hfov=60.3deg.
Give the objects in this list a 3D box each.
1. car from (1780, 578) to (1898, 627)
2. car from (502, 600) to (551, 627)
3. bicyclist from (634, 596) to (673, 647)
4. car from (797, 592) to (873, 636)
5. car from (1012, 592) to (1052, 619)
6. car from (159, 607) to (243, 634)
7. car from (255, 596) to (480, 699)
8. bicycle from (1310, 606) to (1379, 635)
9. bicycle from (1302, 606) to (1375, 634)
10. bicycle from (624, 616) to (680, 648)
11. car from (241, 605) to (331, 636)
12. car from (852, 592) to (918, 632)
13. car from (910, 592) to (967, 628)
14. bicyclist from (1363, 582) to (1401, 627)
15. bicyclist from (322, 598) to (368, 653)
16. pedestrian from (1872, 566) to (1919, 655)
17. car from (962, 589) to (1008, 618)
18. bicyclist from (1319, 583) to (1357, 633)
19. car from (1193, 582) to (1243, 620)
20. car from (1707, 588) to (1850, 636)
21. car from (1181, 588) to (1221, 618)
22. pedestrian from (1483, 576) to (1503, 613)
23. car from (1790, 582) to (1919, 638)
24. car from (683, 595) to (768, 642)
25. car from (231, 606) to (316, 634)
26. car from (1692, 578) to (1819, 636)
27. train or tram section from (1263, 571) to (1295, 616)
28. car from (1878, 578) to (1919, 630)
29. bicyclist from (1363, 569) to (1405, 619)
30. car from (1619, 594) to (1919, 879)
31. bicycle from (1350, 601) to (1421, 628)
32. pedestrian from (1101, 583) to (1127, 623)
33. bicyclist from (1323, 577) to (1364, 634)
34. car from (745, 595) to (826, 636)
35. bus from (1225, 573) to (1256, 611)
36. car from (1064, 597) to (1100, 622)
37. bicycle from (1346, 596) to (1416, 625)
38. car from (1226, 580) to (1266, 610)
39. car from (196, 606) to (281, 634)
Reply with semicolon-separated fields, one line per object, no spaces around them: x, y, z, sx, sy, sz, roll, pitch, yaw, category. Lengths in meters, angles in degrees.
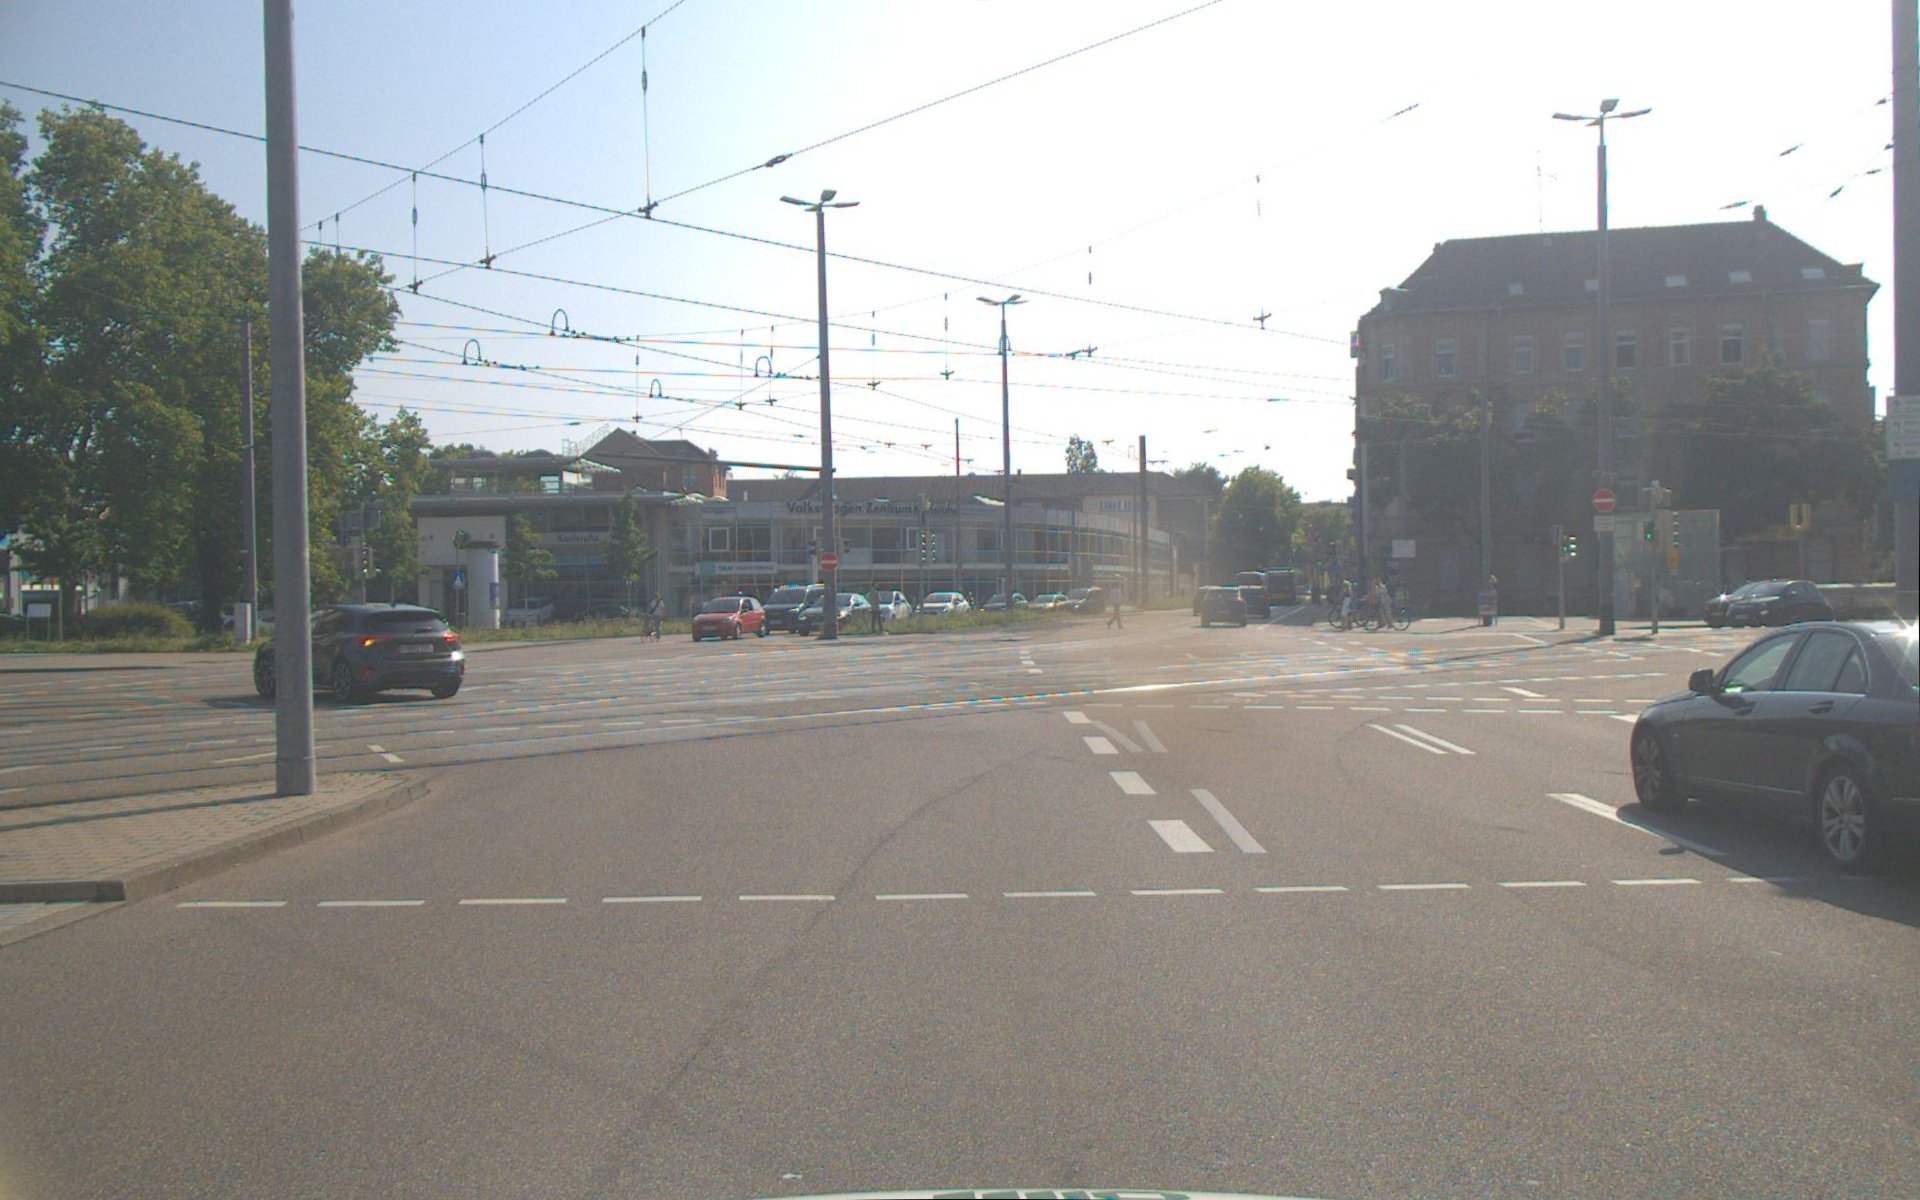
35.114;0.088;66.096;4.200;1.891;1.919;-1;0;-22;car
-25.256;0.779;96.497;1.664;1.549;4.100;-1;0;2;car
-10.796;0.751;58.220;0.937;1.779;1.167;-1;0;14;bicyclist
-4.530;0.481;60.470;1.580;1.501;4.003;-3;0;13;car
4.301;0.319;98.422;1.580;1.501;4.003;-3;0;14;car
-45.587;1.226;99.392;1.667;1.549;4.507;-1;0;29;car
-9.355;0.690;25.891;1.822;1.460;4.481;-1;0;-41;car
13.973;0.745;60.090;2.602;0.981;1.077;-1;0;-40;bicycle
14.276;0.731;62.379;2.586;0.981;1.084;-1;0;-27;bicycle
-10.802;1.106;58.186;0.937;1.075;2.610;-1;0;14;bicycle
-35.253;1.084;86.563;4.000;1.549;1.706;-1;0;3;car
-3.002;0.447;66.911;1.580;1.501;4.003;-3;0;13;car
-0.945;0.422;75.096;1.580;1.501;4.003;-3;0;14;car
16.308;0.166;63.947;0.922;1.709;1.084;-1;0;-26;bicyclist
-18.132;0.748;48.803;1.144;1.554;0.956;-2;0;-16;bicyclist
18.398;0.199;32.352;0.904;1.719;0.835;-1;0;35;pedestrian
1.399;0.171;91.274;1.580;1.501;4.003;-3;0;14;car
14.257;0.303;62.368;0.922;1.831;1.084;-1;0;-26;bicyclist
10.407;0.014;66.463;1.786;1.453;4.416;-1;0;11;car
25.819;0.369;52.139;4.328;1.421;2.003;-1;0;-30;car
13.429;0.125;91.912;1.786;1.562;4.416;-1;0;14;car
22.060;-0.223;68.496;0.537;1.496;0.664;-1;0;43;pedestrian
31.738;0.327;58.589;4.641;1.891;1.892;-1;0;-28;car
-8.189;0.629;58.120;1.580;1.501;4.003;-3;0;13;car
-40.021;1.170;96.531;1.667;1.549;4.507;-1;0;29;car
27.164;0.210;56.449;4.192;1.891;1.891;-1;0;-30;car
28.396;-0.625;147.401;2.598;3.763;10.599;-1;0;10;train or tram section
36.165;0.123;60.949;4.601;1.891;2.025;-1;0;-30;car
14.986;-0.228;58.496;0.928;1.738;1.077;-1;0;-39;bicyclist
5.899;0.716;10.562;1.648;1.468;4.372;-1;0;0;car
16.482;0.537;64.040;2.586;0.981;1.084;-1;0;-27;bicycle
5.875;0.111;63.089;0.764;1.529;0.708;-1;0;-14;pedestrian
13.929;0.191;60.064;0.928;2.059;1.077;-1;0;-39;bicyclist
-6.849;0.590;65.313;1.919;1.501;4.003;-3;0;13;car
28.780;-0.850;170.036;2.858;3.682;16.760;-1;0;9;bus
7.684;0.578;104.100;1.580;1.501;4.003;-3;0;14;car
14.878;0.364;58.397;2.602;0.981;1.077;-1;0;-40;bicycle
14.492;-0.267;83.658;1.786;1.453;4.416;-1;0;12;car
-42.256;1.182;96.927;1.667;1.549;4.507;-1;0;29;car
